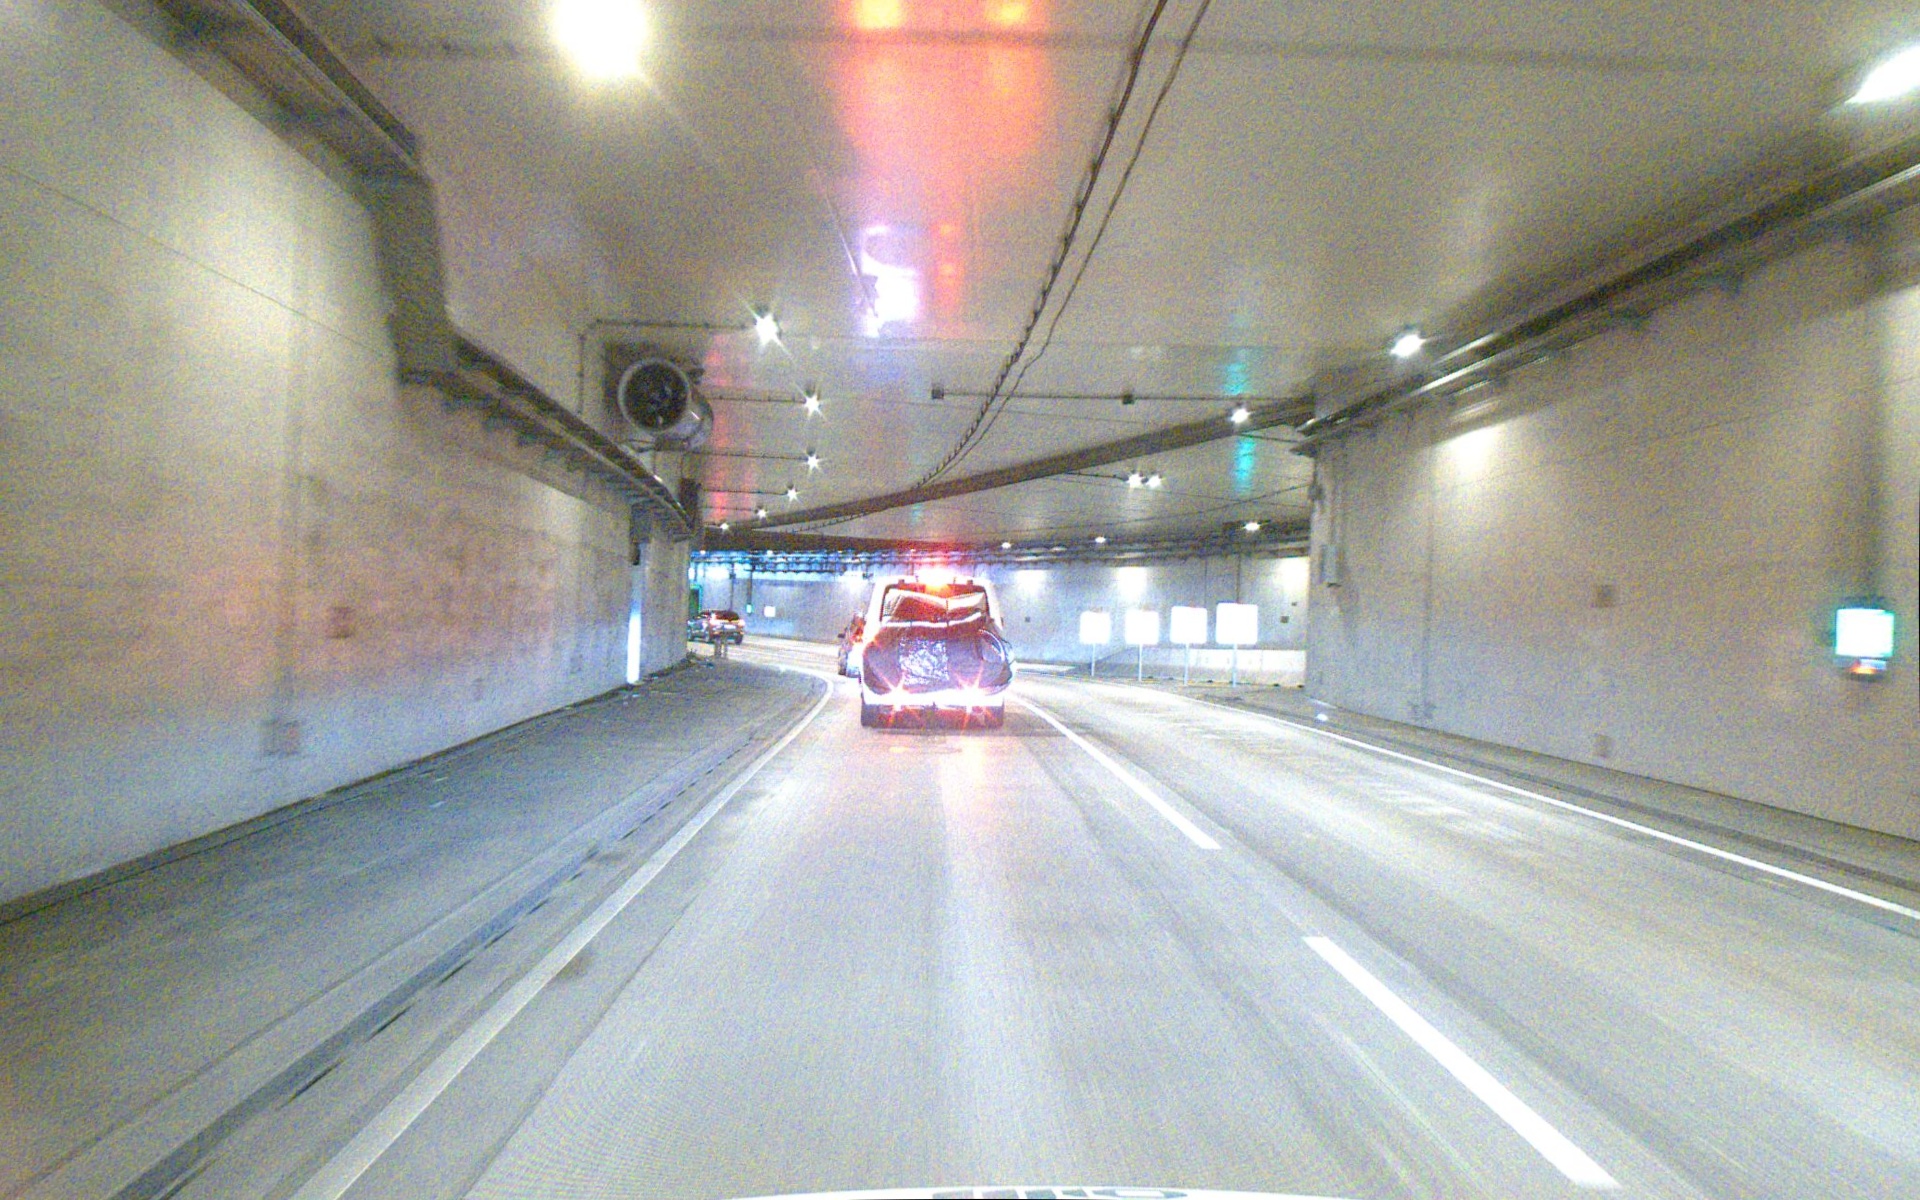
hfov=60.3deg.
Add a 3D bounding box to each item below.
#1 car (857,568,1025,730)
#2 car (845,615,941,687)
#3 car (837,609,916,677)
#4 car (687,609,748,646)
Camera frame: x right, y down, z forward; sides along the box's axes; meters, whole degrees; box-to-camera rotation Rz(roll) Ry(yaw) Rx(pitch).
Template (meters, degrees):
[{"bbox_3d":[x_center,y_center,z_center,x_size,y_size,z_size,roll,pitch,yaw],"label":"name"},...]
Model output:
[{"bbox_3d":[-0.342,0.632,21.972,1.954,1.880,5.297,0,-1,-3],"label":"car"},{"bbox_3d":[-1.455,1.051,34.680,1.573,1.420,3.269,2,-1,-10],"label":"car"},{"bbox_3d":[-2.189,1.123,42.450,1.574,1.622,3.347,2,-3,-10],"label":"car"},{"bbox_3d":[-12.040,1.340,82.071,1.801,1.658,3.809,3,-1,-27],"label":"car"}]
